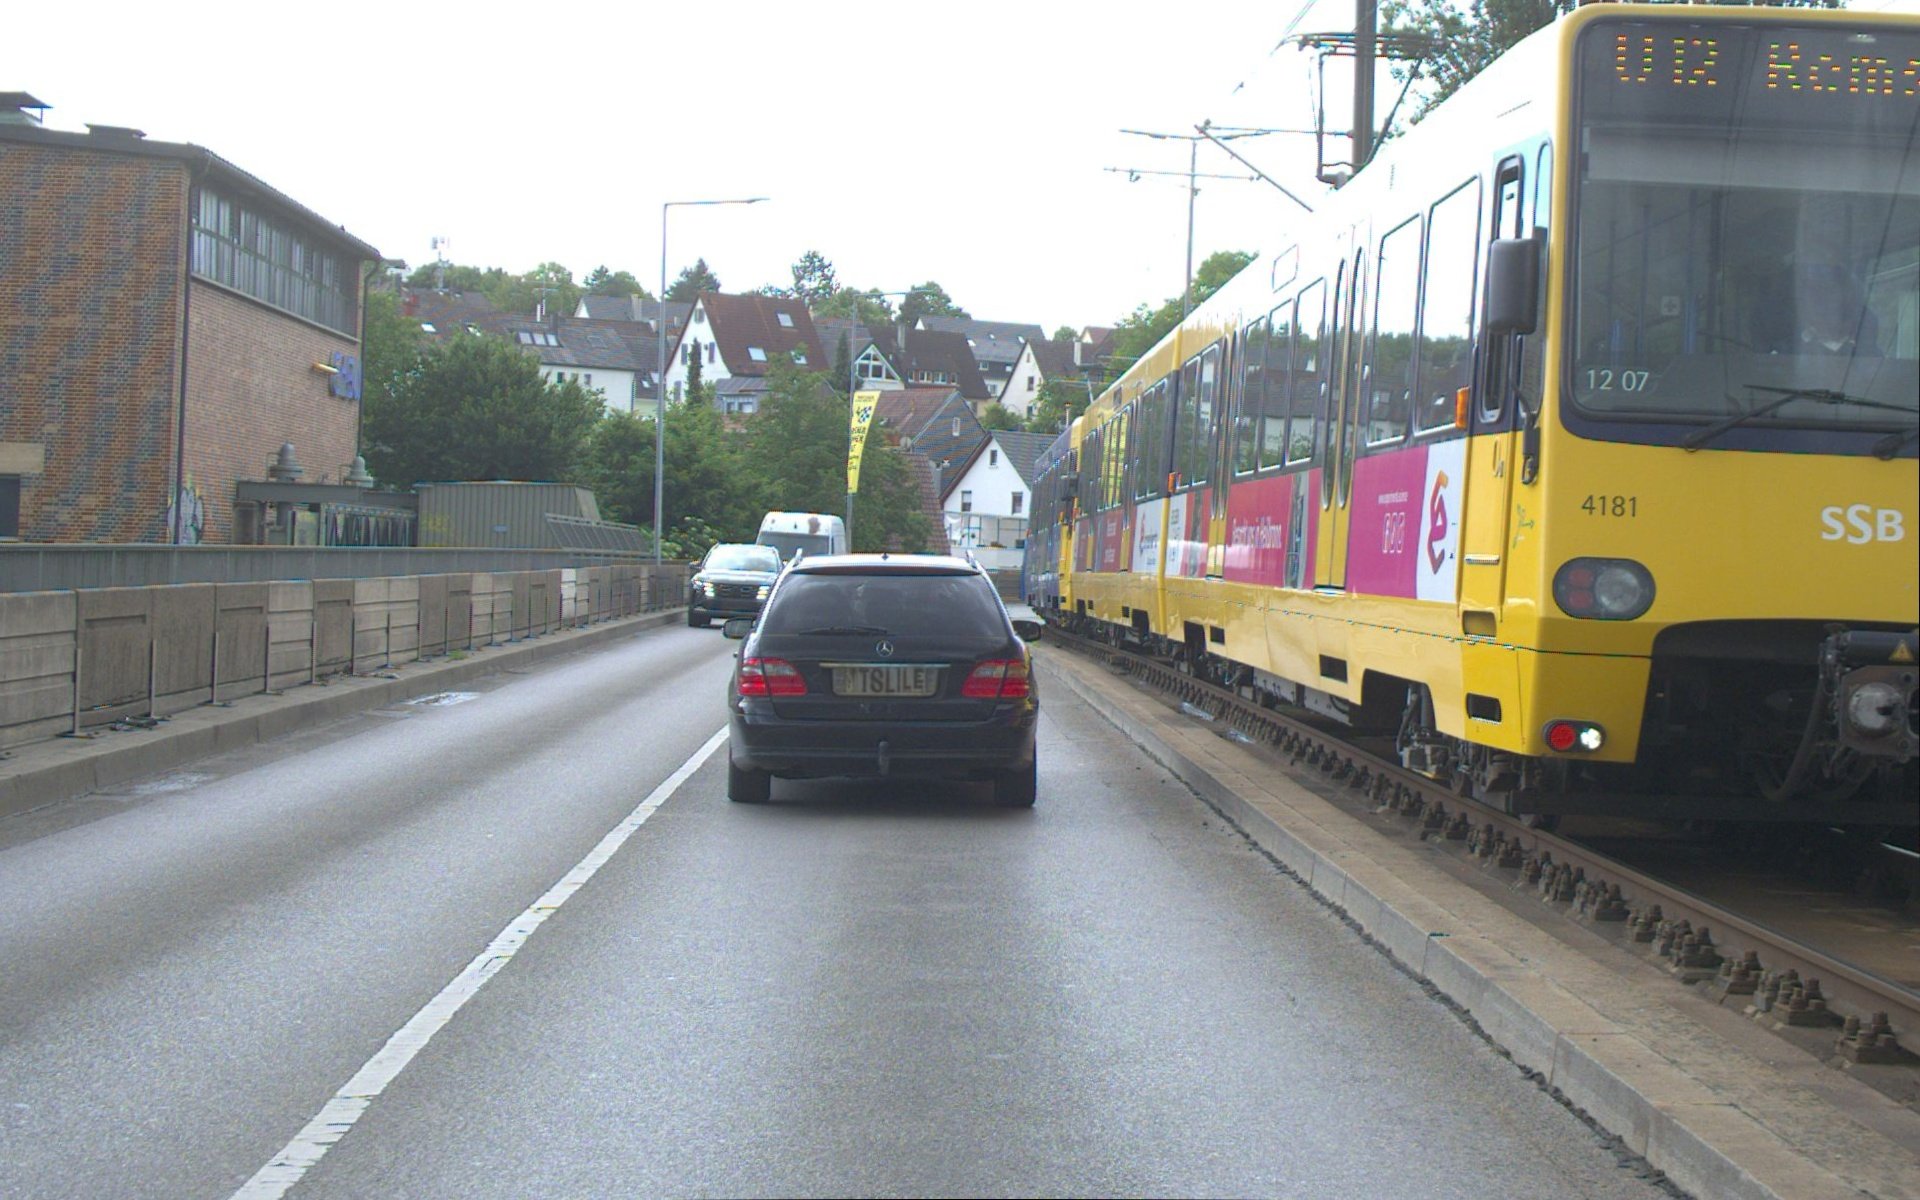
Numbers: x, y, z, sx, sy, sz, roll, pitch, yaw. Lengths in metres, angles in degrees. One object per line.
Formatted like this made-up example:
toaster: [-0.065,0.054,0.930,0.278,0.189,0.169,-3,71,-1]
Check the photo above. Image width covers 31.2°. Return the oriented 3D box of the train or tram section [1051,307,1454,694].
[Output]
train or tram section: [2.951,-1.125,41.109,2.829,3.568,18.669,0,1,-1]

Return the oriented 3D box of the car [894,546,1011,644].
car: [-0.162,-0.118,58.182,1.770,1.550,4.241,1,1,-3]

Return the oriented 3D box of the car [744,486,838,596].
car: [-4.093,-1.497,84.359,2.033,2.552,7.008,1,2,-1]

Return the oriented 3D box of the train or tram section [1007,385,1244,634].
train or tram section: [2.568,-1.456,60.391,2.784,3.643,19.894,0,1,-1]

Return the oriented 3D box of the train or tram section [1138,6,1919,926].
train or tram section: [3.286,-0.713,22.430,2.882,3.497,18.669,0,1,-1]

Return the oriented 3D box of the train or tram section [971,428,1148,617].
train or tram section: [2.069,-1.713,80.293,2.793,3.751,19.894,2,1,-2]

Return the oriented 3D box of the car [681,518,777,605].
car: [-4.534,-0.781,67.939,1.715,1.640,4.001,0,2,-1]

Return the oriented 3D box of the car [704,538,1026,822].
car: [-0.588,0.402,21.149,1.759,1.510,4.443,1,2,-2]
